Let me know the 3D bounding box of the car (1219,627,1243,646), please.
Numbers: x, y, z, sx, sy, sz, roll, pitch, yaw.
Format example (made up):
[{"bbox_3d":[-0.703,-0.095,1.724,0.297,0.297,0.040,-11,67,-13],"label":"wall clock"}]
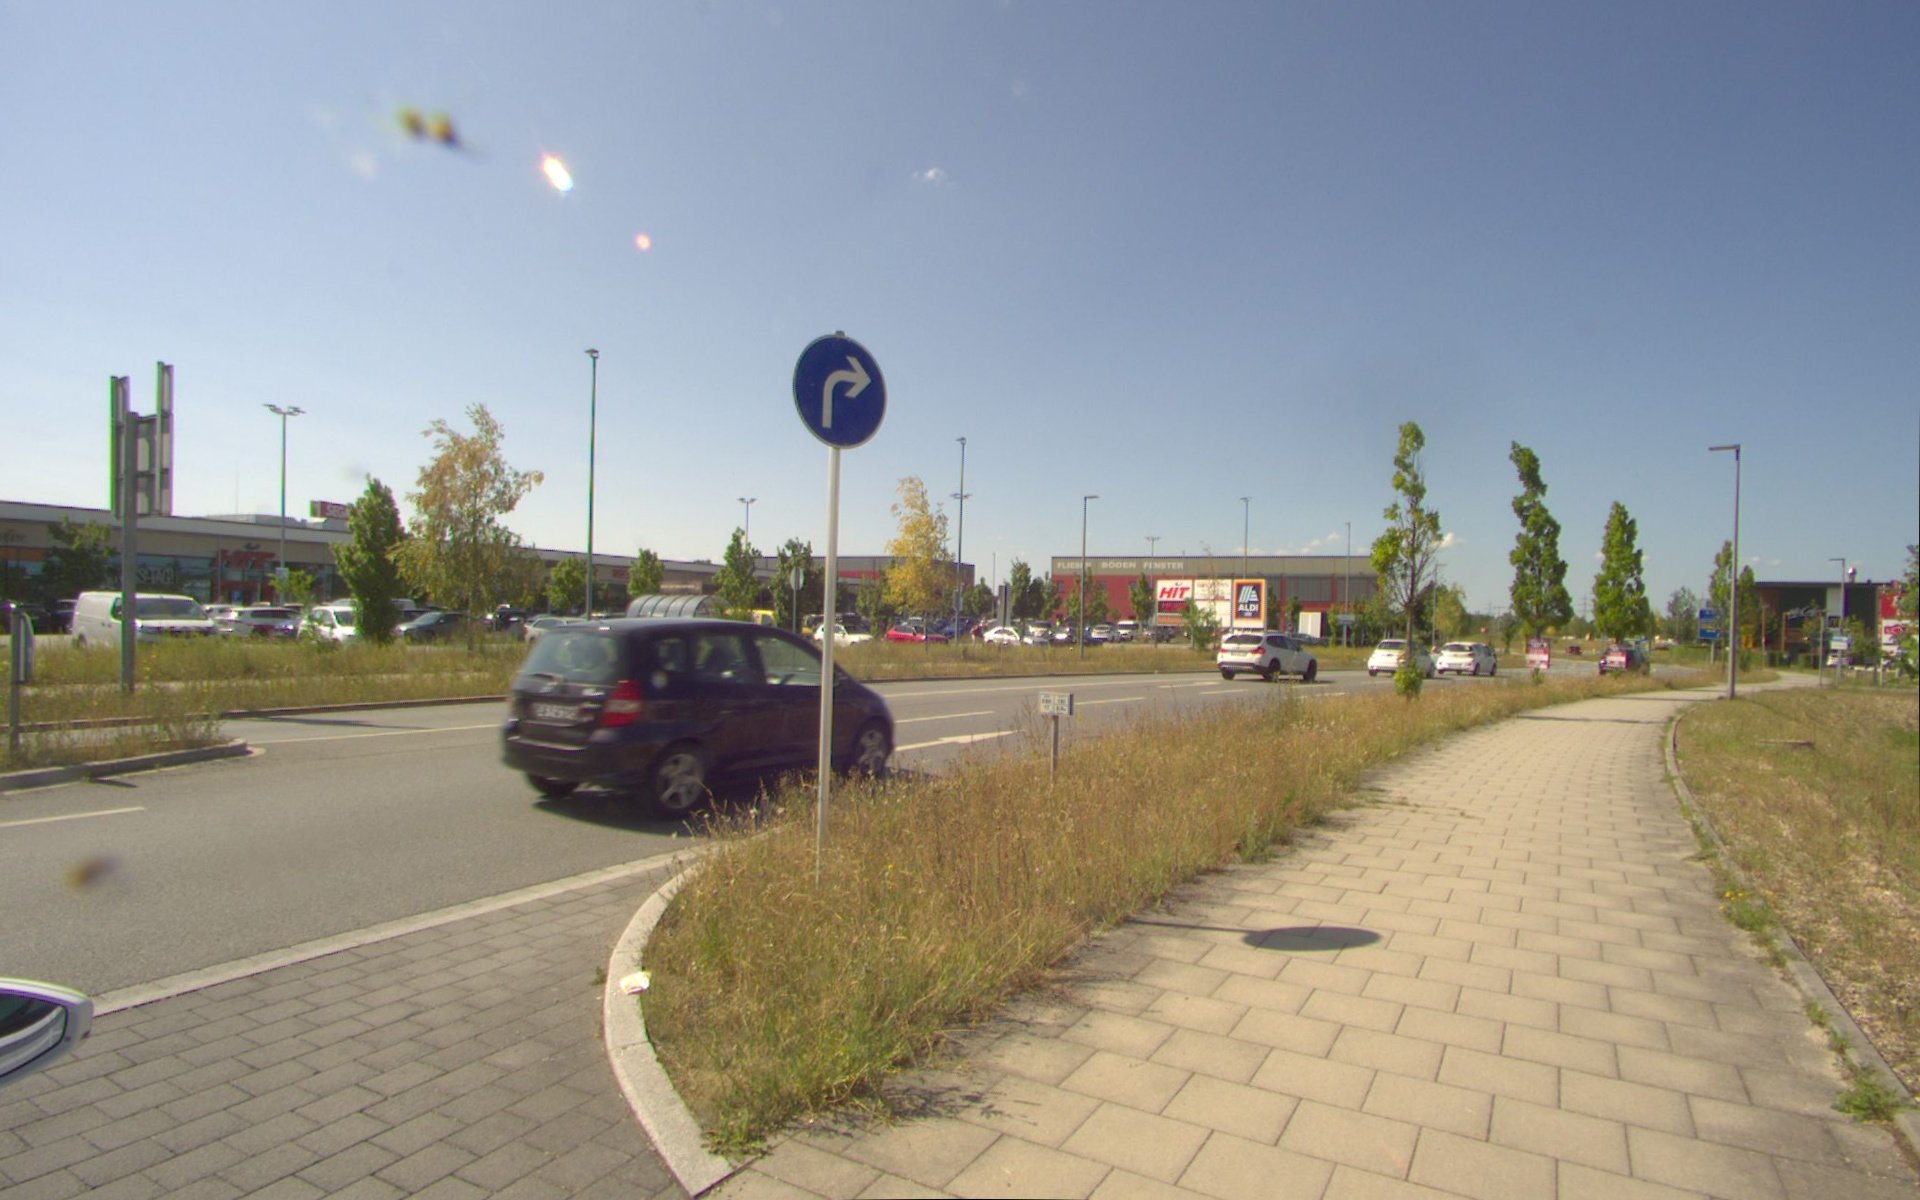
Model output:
[{"bbox_3d":[31.257,4.189,115.315,1.967,2.064,4.472,0,-2,25],"label":"car"}]

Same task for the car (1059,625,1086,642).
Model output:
[{"bbox_3d":[13.902,4.118,123.723,1.967,2.064,4.472,0,-2,25],"label":"car"}]

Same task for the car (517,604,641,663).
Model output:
[{"bbox_3d":[-14.417,1.211,37.763,5.053,2.040,2.149,1,-1,39],"label":"car"}]

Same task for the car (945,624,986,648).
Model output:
[{"bbox_3d":[0.552,3.220,89.814,1.967,2.064,4.472,0,-2,25],"label":"car"}]

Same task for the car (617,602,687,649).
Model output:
[{"bbox_3d":[-19.596,1.637,63.928,1.964,2.857,4.478,1,-2,19],"label":"car"}]

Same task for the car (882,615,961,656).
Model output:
[{"bbox_3d":[-2.073,1.857,52.989,4.094,2.039,1.867,1,-2,44],"label":"car"}]

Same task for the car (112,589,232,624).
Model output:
[{"bbox_3d":[-33.931,0.302,43.235,1.702,1.409,3.724,1,-1,22],"label":"car"}]

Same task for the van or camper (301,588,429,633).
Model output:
[{"bbox_3d":[-28.770,0.553,48.599,1.968,2.040,5.034,1,-1,27],"label":"van or camper"}]

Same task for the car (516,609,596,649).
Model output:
[{"bbox_3d":[-23.839,1.731,59.272,1.964,2.219,4.478,1,-2,19],"label":"car"}]

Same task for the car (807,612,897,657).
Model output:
[{"bbox_3d":[-5.365,1.678,49.408,4.360,2.039,1.929,1,-1,42],"label":"car"}]

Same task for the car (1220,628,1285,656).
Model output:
[{"bbox_3d":[22.684,3.268,77.677,4.426,2.064,1.987,0,-2,37],"label":"car"}]

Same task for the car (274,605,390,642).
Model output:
[{"bbox_3d":[-25.660,0.978,41.056,1.702,1.409,3.724,1,-1,22],"label":"car"}]

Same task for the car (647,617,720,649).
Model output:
[{"bbox_3d":[-17.191,2.076,62.529,1.967,1.887,4.472,0,-2,25],"label":"car"}]

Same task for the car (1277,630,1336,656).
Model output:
[{"bbox_3d":[29.609,3.645,85.599,4.426,2.064,1.987,0,-2,37],"label":"car"}]

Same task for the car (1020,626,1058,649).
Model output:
[{"bbox_3d":[7.311,3.425,92.269,1.967,2.064,4.472,0,-2,25],"label":"car"}]

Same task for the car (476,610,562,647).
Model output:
[{"bbox_3d":[-26.618,1.762,60.553,1.969,2.129,4.467,0,-2,29],"label":"car"}]

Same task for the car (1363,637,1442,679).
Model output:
[{"bbox_3d":[17.838,2.295,40.308,1.723,1.571,3.749,0,-2,44],"label":"car"}]

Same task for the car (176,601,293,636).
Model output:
[{"bbox_3d":[-30.964,0.794,42.856,1.702,1.409,3.724,1,-1,22],"label":"car"}]

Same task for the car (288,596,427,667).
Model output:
[{"bbox_3d":[-18.955,0.928,31.428,5.053,2.040,2.149,1,-1,39],"label":"car"}]

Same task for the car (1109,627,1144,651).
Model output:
[{"bbox_3d":[14.940,3.492,89.697,1.967,2.064,4.472,0,-2,25],"label":"car"}]

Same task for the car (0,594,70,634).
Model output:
[{"bbox_3d":[-43.658,0.635,46.515,3.933,1.729,1.995,1,-1,24],"label":"car"}]

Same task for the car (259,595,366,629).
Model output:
[{"bbox_3d":[-34.671,0.680,53.745,1.845,1.727,4.470,0,-2,28],"label":"car"}]

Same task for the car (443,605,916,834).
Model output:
[{"bbox_3d":[-2.305,0.888,9.149,1.971,1.570,3.825,1,-1,32],"label":"car"}]

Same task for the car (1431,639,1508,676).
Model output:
[{"bbox_3d":[23.414,2.624,45.945,1.925,1.571,4.721,0,-2,43],"label":"car"}]

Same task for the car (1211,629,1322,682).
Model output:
[{"bbox_3d":[10.098,1.794,32.788,1.722,1.571,4.533,0,-2,42],"label":"car"}]

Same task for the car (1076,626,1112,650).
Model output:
[{"bbox_3d":[12.186,3.477,90.933,1.967,2.064,4.472,0,-2,25],"label":"car"}]

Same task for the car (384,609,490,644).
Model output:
[{"bbox_3d":[-24.033,1.245,46.155,1.844,1.527,3.988,0,-2,26],"label":"car"}]

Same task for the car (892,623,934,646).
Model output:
[{"bbox_3d":[-4.240,3.183,91.569,1.967,2.064,4.472,0,-2,25],"label":"car"}]

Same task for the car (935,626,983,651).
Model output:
[{"bbox_3d":[-0.060,2.873,74.839,1.967,1.807,4.303,0,-2,25],"label":"car"}]

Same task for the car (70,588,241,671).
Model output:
[{"bbox_3d":[-21.784,0.735,27.054,5.154,2.040,2.077,1,-1,33],"label":"car"}]

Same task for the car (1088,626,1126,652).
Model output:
[{"bbox_3d":[12.417,3.273,84.188,1.967,2.064,4.472,0,-2,25],"label":"car"}]

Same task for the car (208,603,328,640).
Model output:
[{"bbox_3d":[-28.426,0.892,41.254,1.702,1.409,3.724,1,-1,22],"label":"car"}]

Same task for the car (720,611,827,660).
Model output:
[{"bbox_3d":[-8.536,1.563,45.497,5.058,2.040,2.147,1,-1,42],"label":"car"}]

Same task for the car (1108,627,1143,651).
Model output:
[{"bbox_3d":[14.818,3.491,89.738,1.967,2.064,4.472,0,-2,25],"label":"car"}]

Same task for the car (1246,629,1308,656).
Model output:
[{"bbox_3d":[25.803,3.447,81.554,4.426,2.064,1.987,0,-2,37],"label":"car"}]

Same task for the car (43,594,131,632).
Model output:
[{"bbox_3d":[-42.755,0.620,49.061,3.938,1.729,1.992,1,-1,28],"label":"car"}]

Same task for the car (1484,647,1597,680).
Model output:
[{"bbox_3d":[29.914,3.256,51.753,4.674,1.571,1.945,1,-1,17],"label":"car"}]

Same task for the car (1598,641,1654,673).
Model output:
[{"bbox_3d":[35.249,2.985,52.963,1.893,1.571,4.354,0,-2,41],"label":"car"}]

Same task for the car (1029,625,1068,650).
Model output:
[{"bbox_3d":[7.747,3.271,87.025,1.967,2.064,4.472,0,-2,25],"label":"car"}]

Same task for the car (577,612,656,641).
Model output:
[{"bbox_3d":[-19.476,1.520,56.972,1.629,1.539,4.336,0,-2,27],"label":"car"}]
